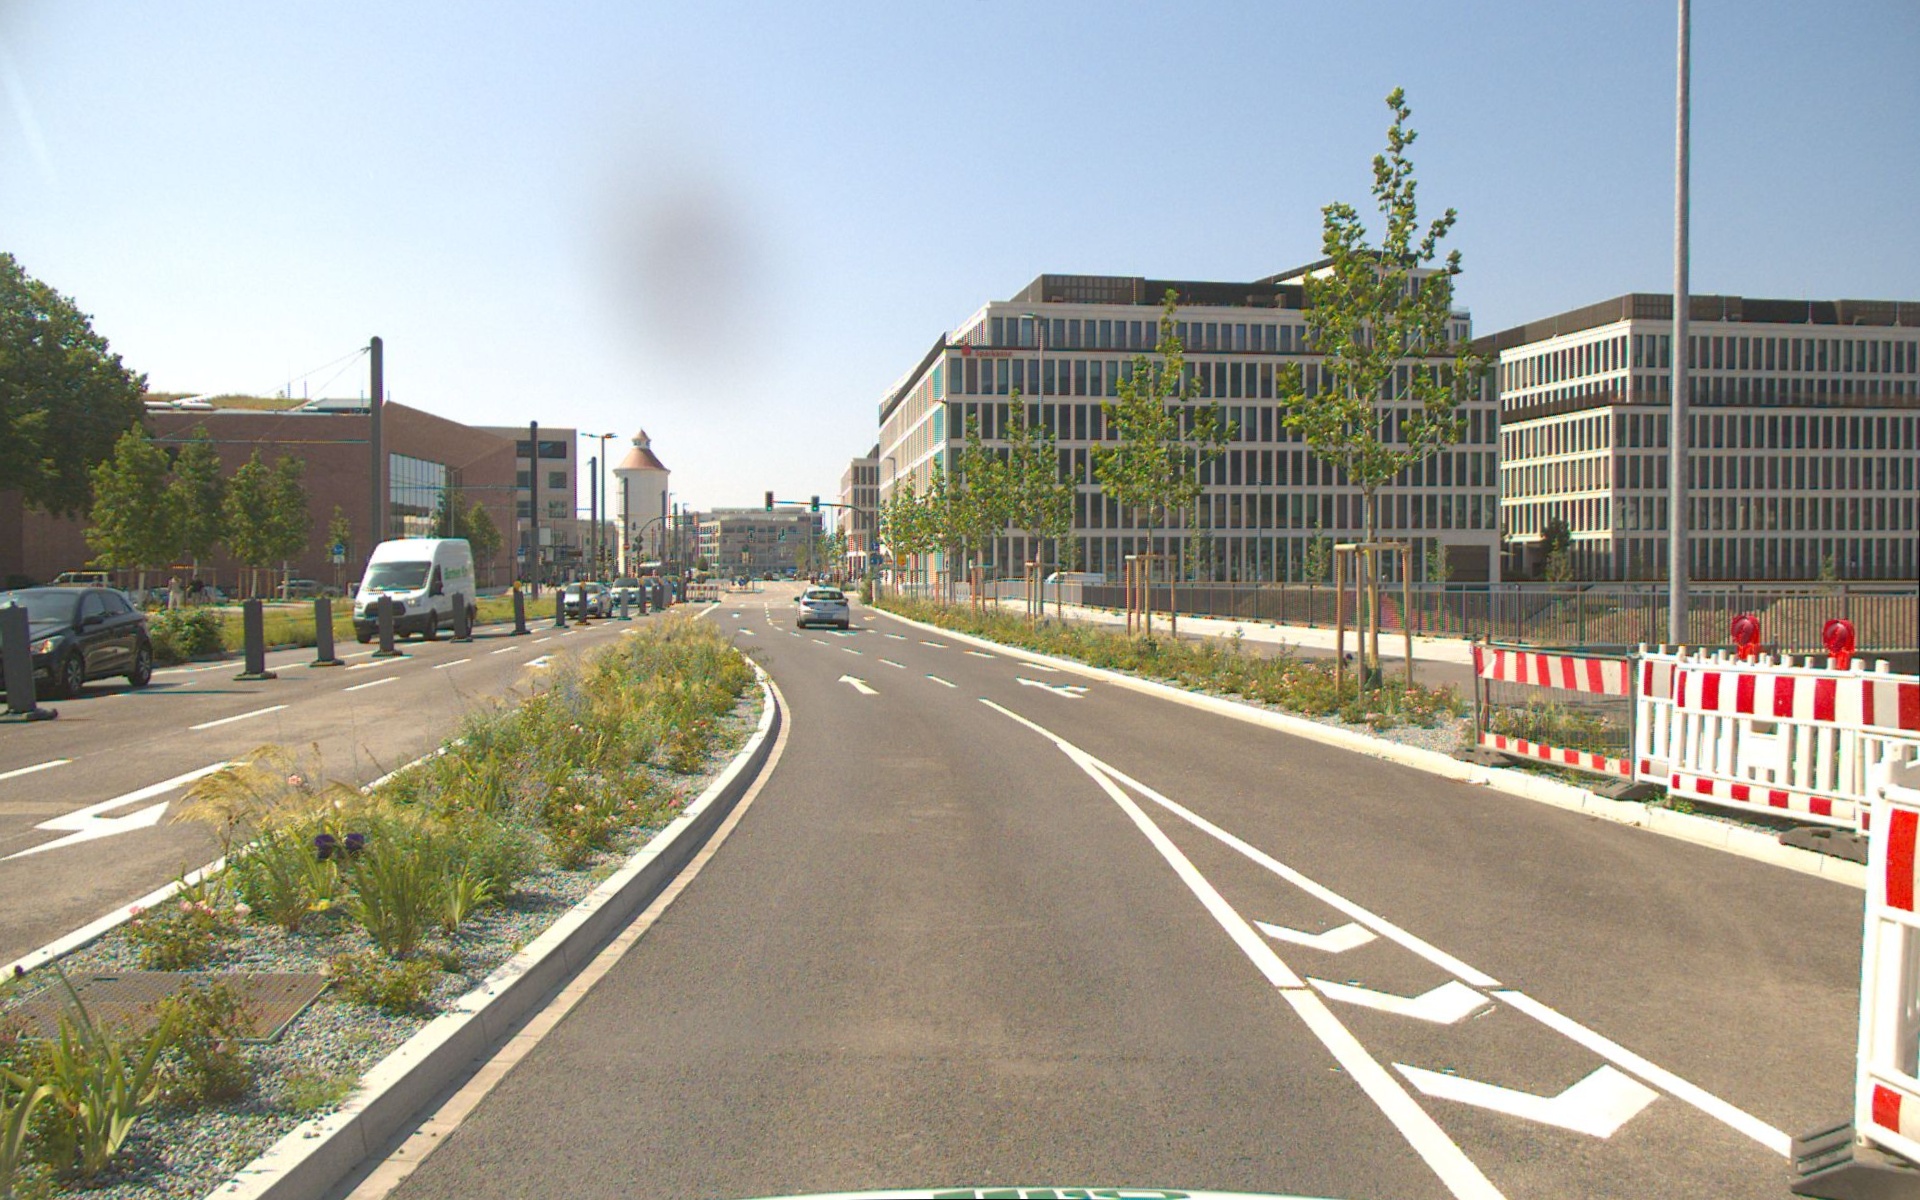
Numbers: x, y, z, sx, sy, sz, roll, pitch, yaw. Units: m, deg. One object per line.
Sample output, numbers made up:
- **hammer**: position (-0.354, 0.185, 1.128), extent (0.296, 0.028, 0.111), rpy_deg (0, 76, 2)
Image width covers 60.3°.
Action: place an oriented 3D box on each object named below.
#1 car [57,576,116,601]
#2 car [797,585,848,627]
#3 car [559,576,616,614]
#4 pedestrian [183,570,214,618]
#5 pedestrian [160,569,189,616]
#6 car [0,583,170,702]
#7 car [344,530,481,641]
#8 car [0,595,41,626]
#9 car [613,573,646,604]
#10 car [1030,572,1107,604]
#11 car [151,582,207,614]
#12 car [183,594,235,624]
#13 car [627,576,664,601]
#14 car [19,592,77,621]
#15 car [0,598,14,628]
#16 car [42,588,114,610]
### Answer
- **car**: position (-64.059, -0.833, 121.330), extent (3.475, 1.719, 1.691), rpy_deg (1, 1, -7)
- **car**: position (-4.930, 0.209, 59.272), extent (1.737, 1.419, 3.528), rpy_deg (1, 0, -5)
- **car**: position (-15.323, -0.209, 68.202), extent (1.641, 1.468, 4.464), rpy_deg (-2, 1, -5)
- **pedestrian**: position (-33.449, -0.265, 72.642), extent (0.964, 2.049, 0.909), rpy_deg (1, 0, -4)
- **pedestrian**: position (-34.480, -0.325, 72.577), extent (0.823, 2.049, 0.983), rpy_deg (1, 1, -4)
- **car**: position (-12.599, 0.535, 23.041), extent (1.516, 1.482, 4.187), rpy_deg (-2, 1, -6)
- **car**: position (-14.955, -0.412, 45.557), extent (2.036, 2.787, 5.982), rpy_deg (-2, 1, -4)
- **car**: position (-50.013, 0.538, 87.236), extent (1.510, 1.482, 3.779), rpy_deg (0, 1, -10)
- **car**: position (-17.526, -0.589, 87.830), extent (1.551, 1.557, 3.613), rpy_deg (-2, 0, -9)
- **car**: position (8.613, -0.967, 131.647), extent (5.726, 2.310, 2.143), rpy_deg (2, 1, -7)
- **car**: position (-45.015, -0.118, 95.398), extent (1.665, 1.792, 3.934), rpy_deg (1, 0, -6)
- **car**: position (-45.993, 0.538, 101.391), extent (1.666, 1.792, 4.295), rpy_deg (1, 0, -7)
- **car**: position (-18.855, -0.681, 99.148), extent (1.548, 1.441, 4.294), rpy_deg (-1, 1, -3)
- **car**: position (-51.092, 0.355, 92.754), extent (1.509, 1.482, 3.782), rpy_deg (0, 1, -7)
- **car**: position (-48.945, 0.675, 82.847), extent (1.511, 1.482, 3.778), rpy_deg (0, 0, -11)
- **car**: position (-60.669, -0.073, 113.809), extent (3.906, 1.427, 1.999), rpy_deg (1, 0, -2)
